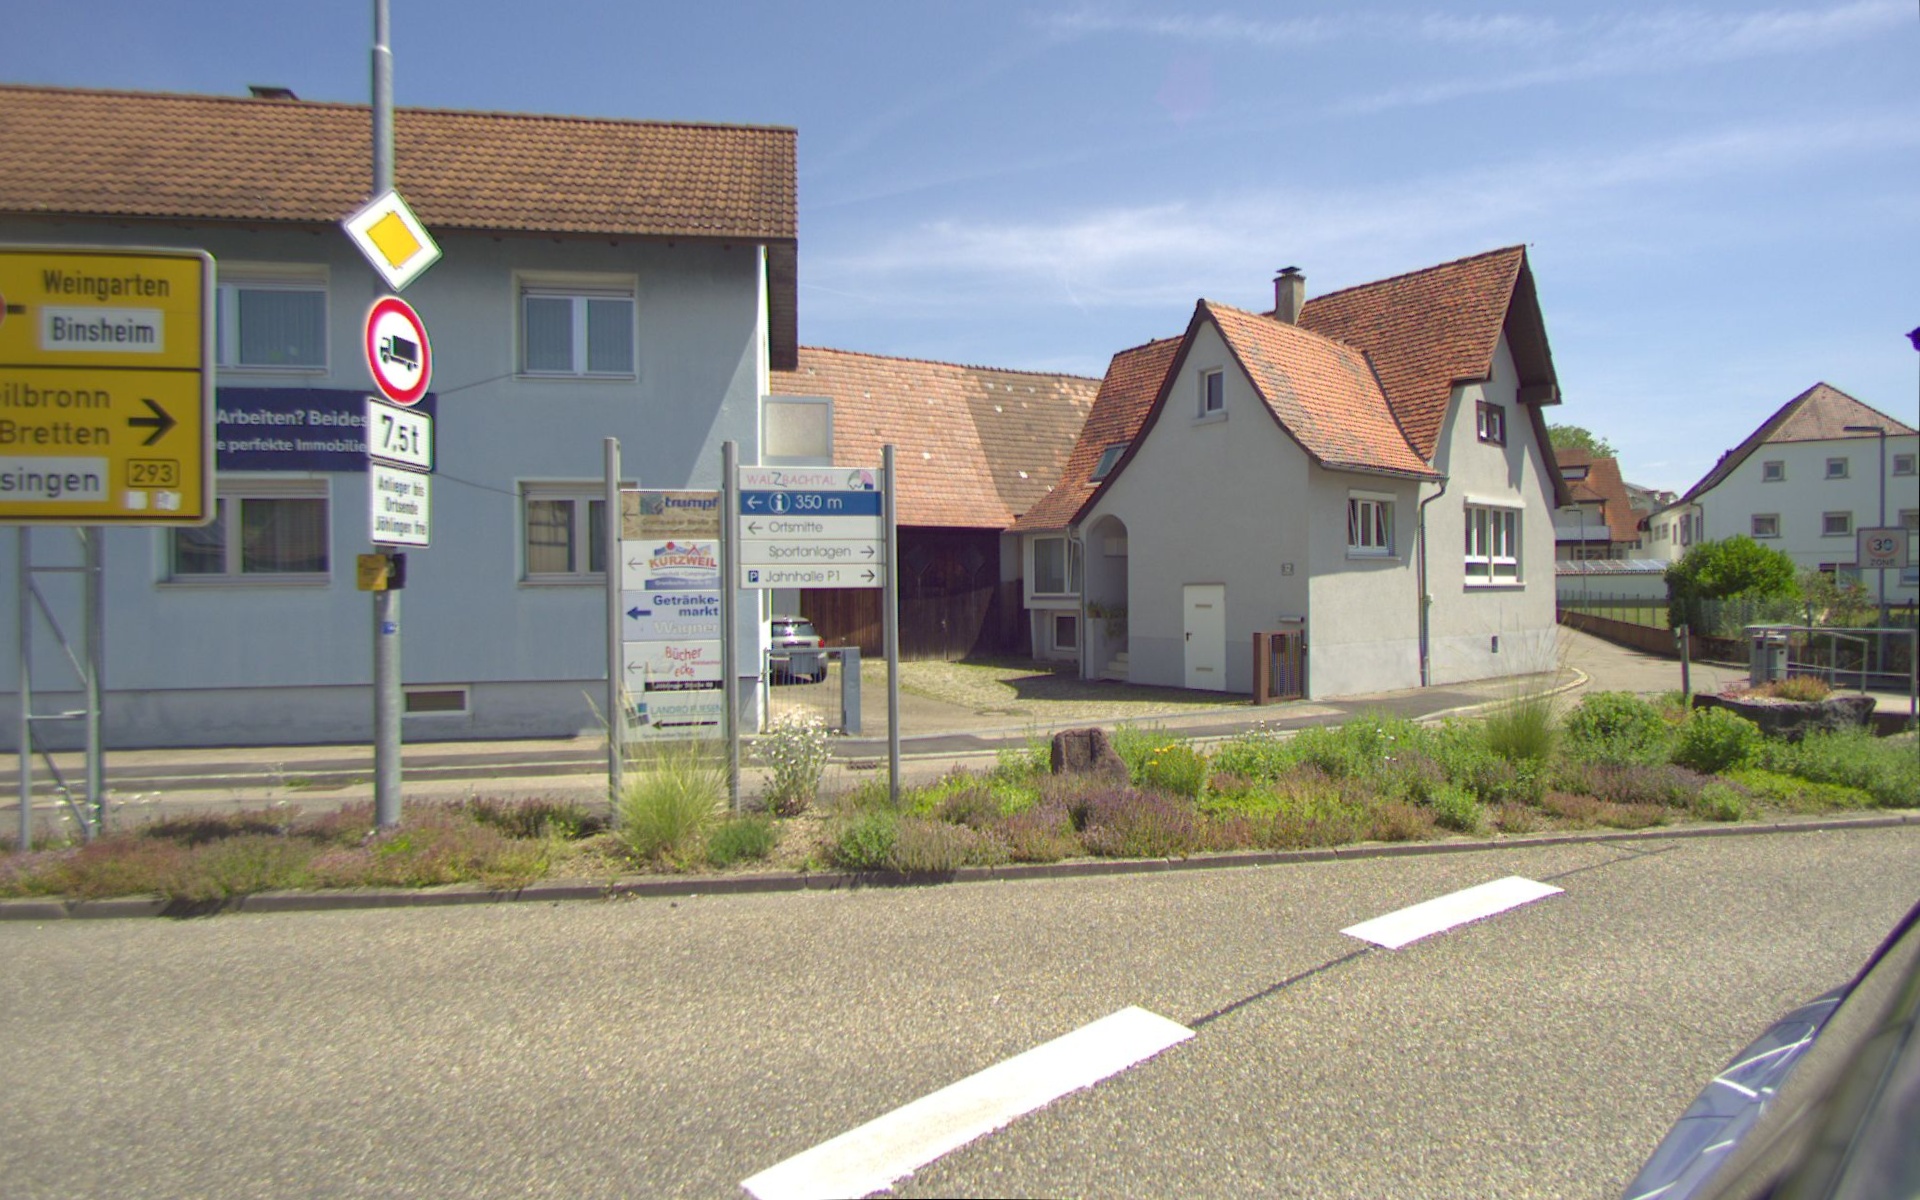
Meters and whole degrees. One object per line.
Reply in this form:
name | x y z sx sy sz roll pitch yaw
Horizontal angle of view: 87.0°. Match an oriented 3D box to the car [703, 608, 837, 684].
car | -4.415 0.971 23.114 1.779 1.471 3.739 -1 1 -32
